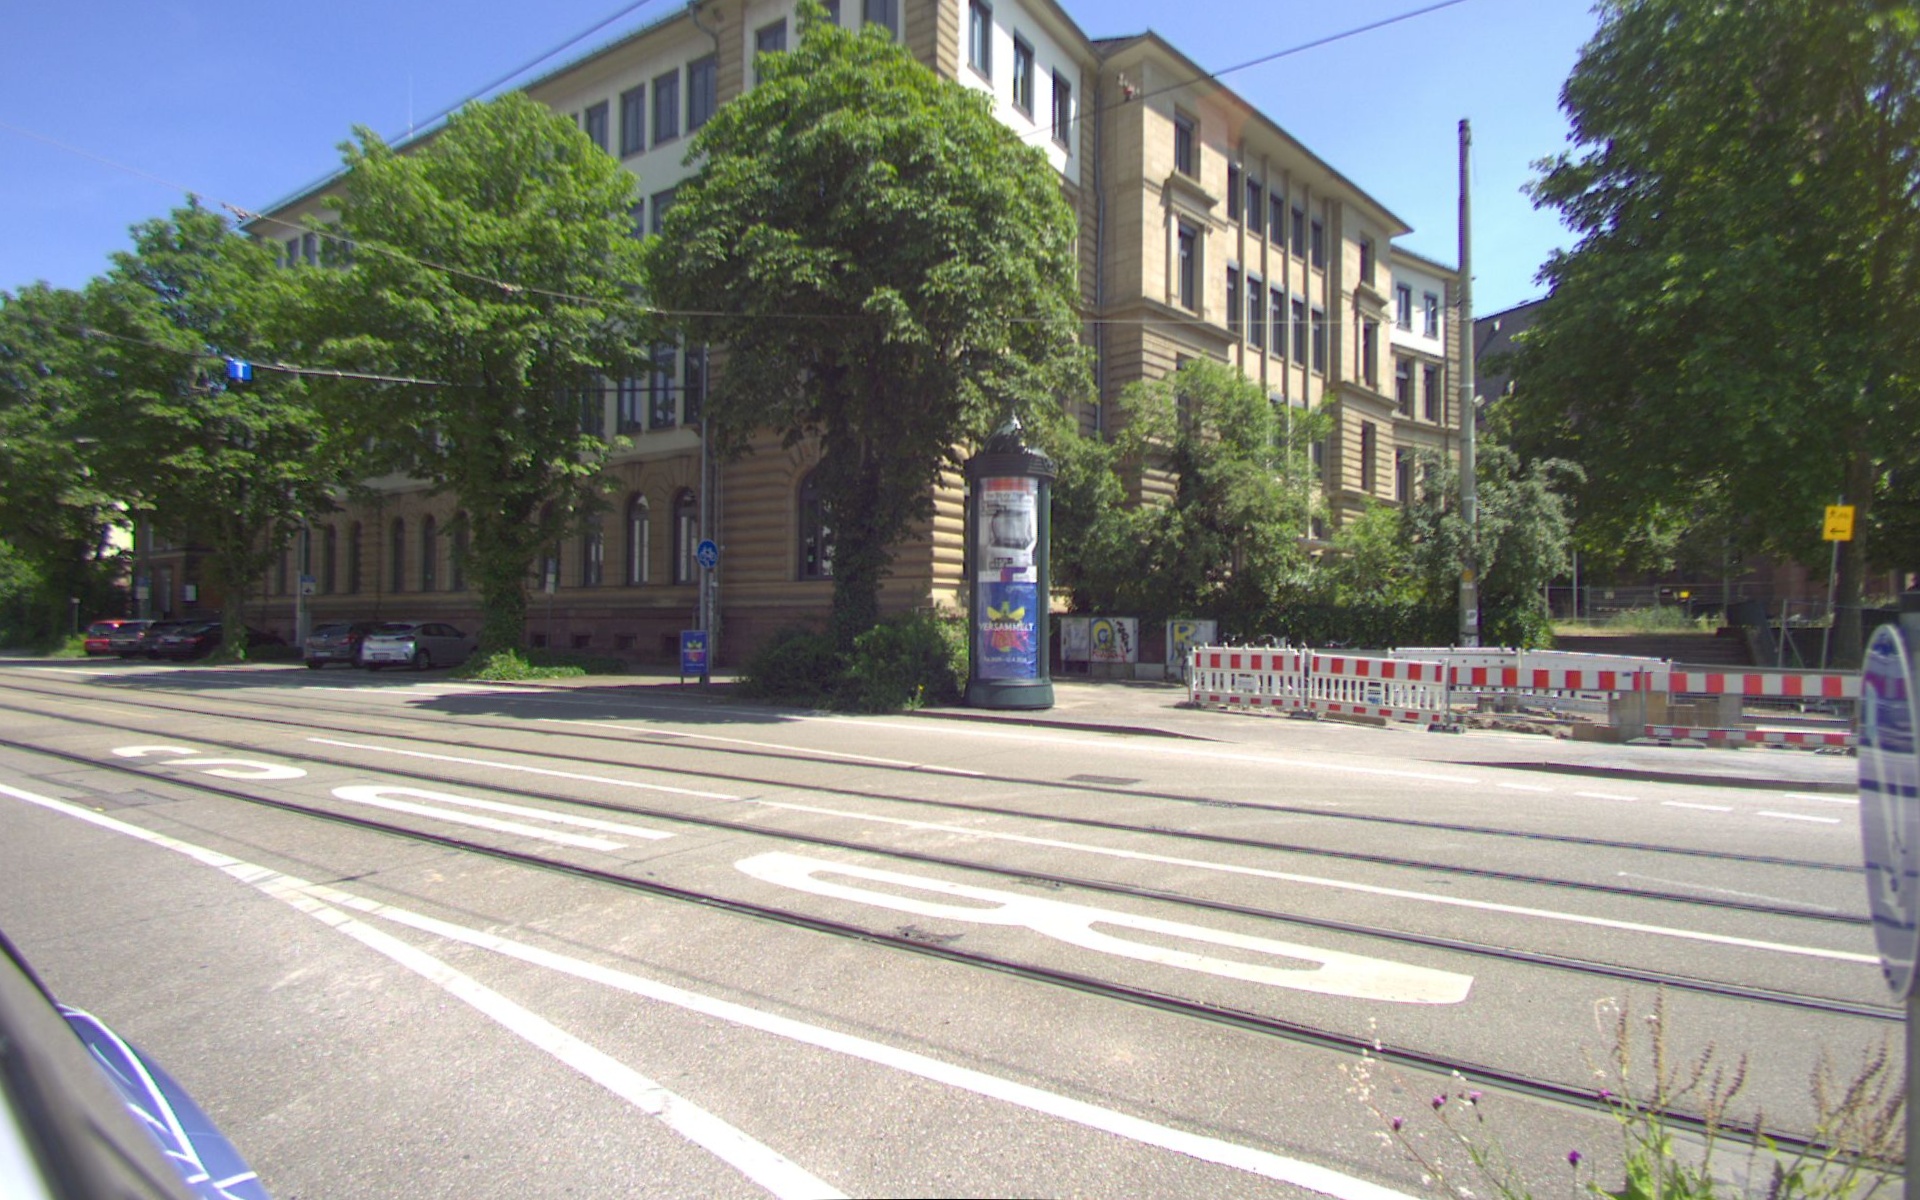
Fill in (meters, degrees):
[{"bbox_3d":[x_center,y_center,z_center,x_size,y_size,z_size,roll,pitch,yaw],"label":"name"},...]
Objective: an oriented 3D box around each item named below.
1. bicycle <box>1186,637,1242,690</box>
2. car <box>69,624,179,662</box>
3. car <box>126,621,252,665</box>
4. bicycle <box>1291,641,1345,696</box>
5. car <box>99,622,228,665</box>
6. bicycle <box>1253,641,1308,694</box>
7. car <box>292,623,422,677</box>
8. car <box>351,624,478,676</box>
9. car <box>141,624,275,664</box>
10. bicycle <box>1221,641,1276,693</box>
[{"bbox_3d":[5.843,1.440,23.232,0.463,1.156,1.664,0,-1,44],"label":"bicycle"},{"bbox_3d":[-35.152,1.777,42.670,1.650,1.527,3.344,0,-1,8],"label":"car"},{"bbox_3d":[-29.853,1.650,39.336,1.771,1.589,3.813,0,-2,4],"label":"car"},{"bbox_3d":[7.664,1.436,21.616,0.504,1.111,1.714,-1,-2,41],"label":"bicycle"},{"bbox_3d":[-32.224,1.716,41.114,1.648,1.596,4.316,0,0,4],"label":"car"},{"bbox_3d":[7.035,1.454,22.165,0.504,1.111,1.714,-1,-2,41],"label":"bicycle"},{"bbox_3d":[-18.744,1.509,31.631,1.648,1.531,3.671,0,0,5],"label":"car"},{"bbox_3d":[-16.183,1.446,30.223,1.681,1.416,3.543,0,-1,5],"label":"car"},{"bbox_3d":[-27.510,1.609,37.190,1.650,1.385,3.924,0,-2,8],"label":"car"},{"bbox_3d":[6.463,1.476,22.655,0.504,1.111,1.714,-1,-2,41],"label":"bicycle"}]
